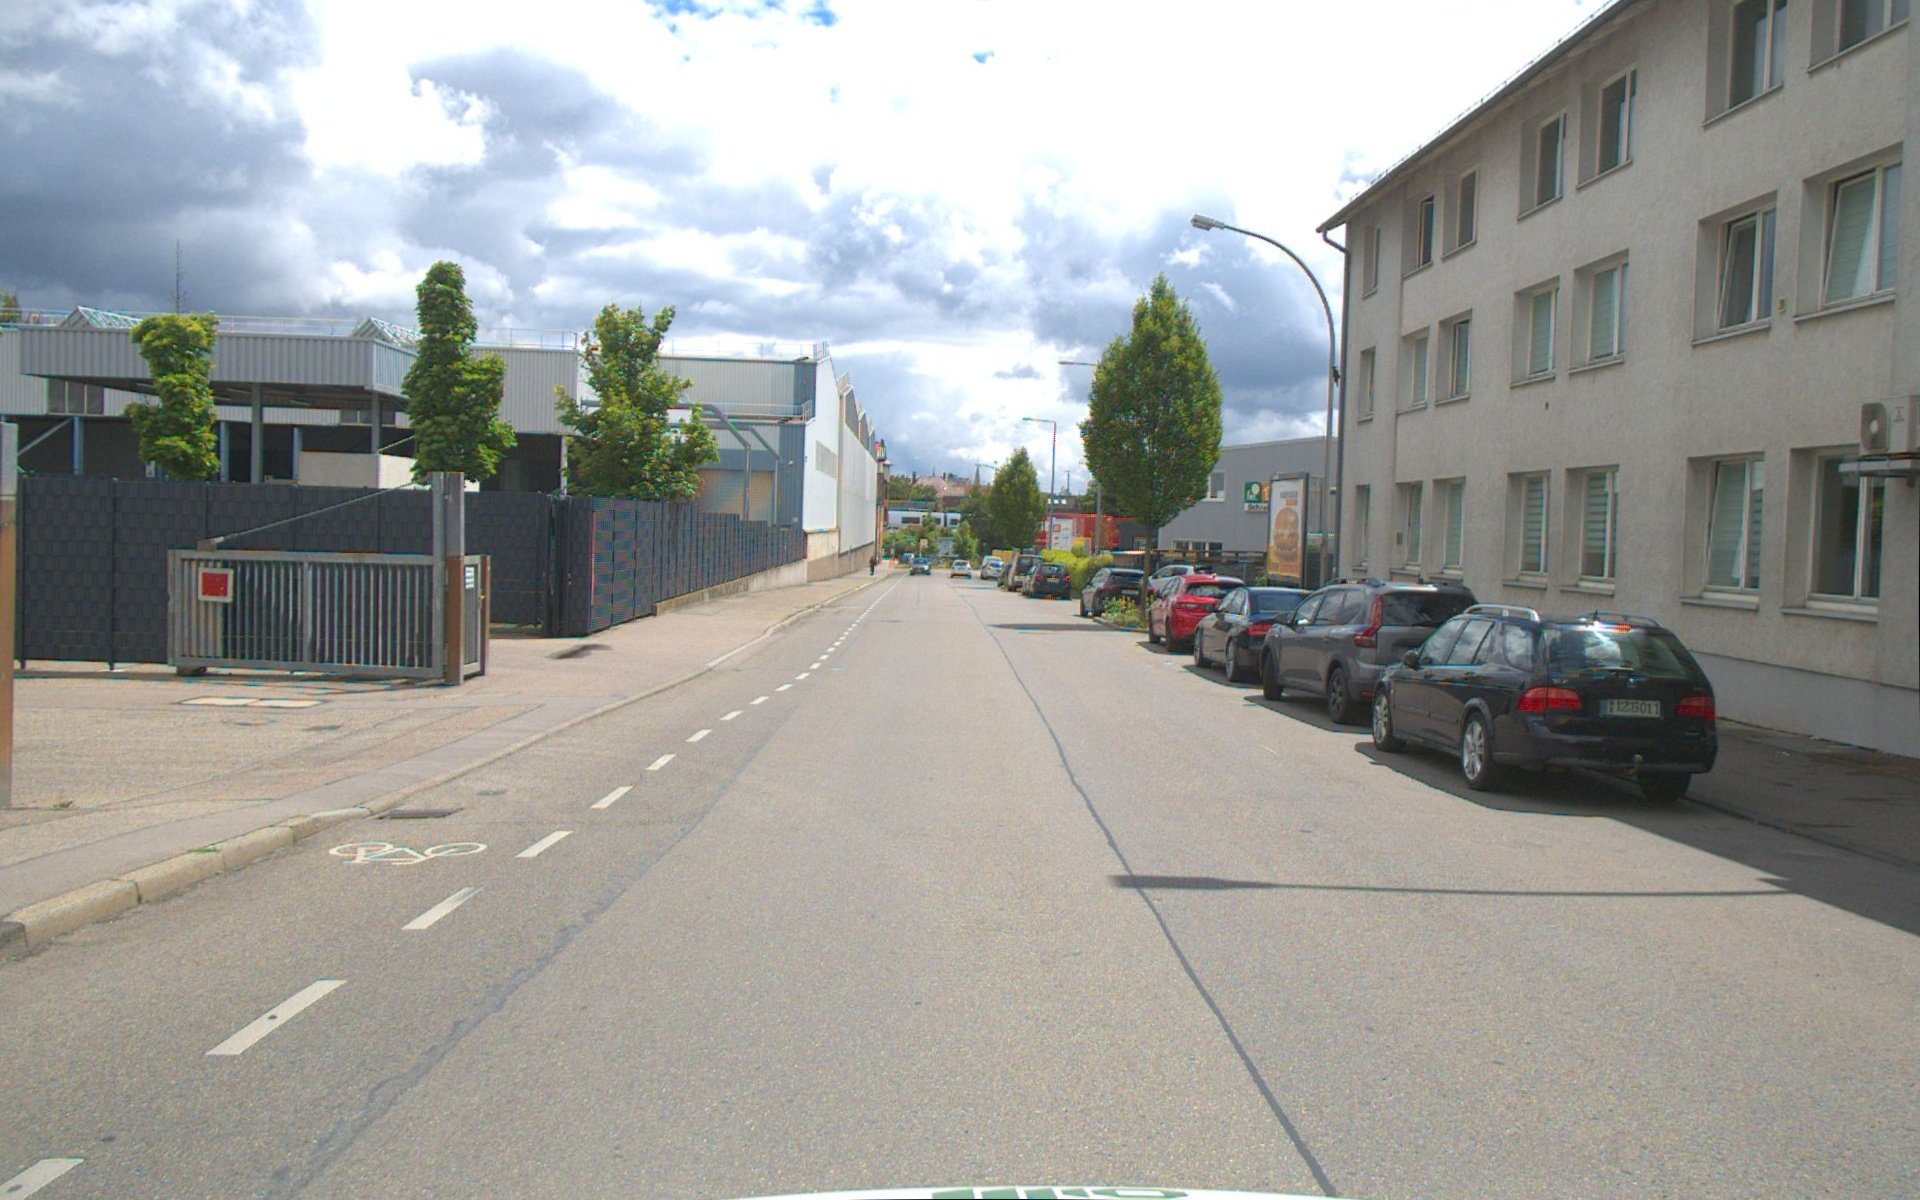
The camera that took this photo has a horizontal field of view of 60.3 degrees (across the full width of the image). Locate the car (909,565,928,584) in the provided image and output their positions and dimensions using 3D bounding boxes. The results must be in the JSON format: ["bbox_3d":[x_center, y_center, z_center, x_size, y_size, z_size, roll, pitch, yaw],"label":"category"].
[{"bbox_3d":[-3.826,-2.349,151.168,1.684,1.583,4.286,-2,0,-2],"label":"car"}]

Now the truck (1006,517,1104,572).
[{"bbox_3d":[8.524,-4.969,148.468,8.274,4.752,2.583,1,-1,20],"label":"truck"}]

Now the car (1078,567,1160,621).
[{"bbox_3d":[4.651,-0.194,48.883,1.755,1.491,4.706,1,1,-3],"label":"car"}]

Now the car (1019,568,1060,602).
[{"bbox_3d":[3.840,-0.729,80.594,1.622,1.567,4.733,1,1,-2],"label":"car"}]

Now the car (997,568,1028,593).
[{"bbox_3d":[3.298,-1.262,104.189,1.679,1.499,4.510,1,1,-2],"label":"car"}]

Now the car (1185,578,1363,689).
[{"bbox_3d":[4.847,0.448,26.234,1.700,1.448,4.859,2,2,-2],"label":"car"}]

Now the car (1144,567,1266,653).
[{"bbox_3d":[4.792,0.148,32.837,1.699,1.498,4.261,2,2,-1],"label":"car"}]

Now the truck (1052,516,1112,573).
[{"bbox_3d":[10.409,-4.697,141.780,2.532,4.527,7.827,2,-1,-16],"label":"truck"}]

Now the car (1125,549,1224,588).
[{"bbox_3d":[8.948,-1.311,69.291,1.709,1.488,4.017,-3,2,-39],"label":"car"}]

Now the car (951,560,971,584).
[{"bbox_3d":[0.054,-2.304,135.998,1.535,1.817,3.604,1,-1,-2],"label":"car"}]

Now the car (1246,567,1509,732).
[{"bbox_3d":[5.027,0.499,20.653,1.644,1.666,4.792,3,2,-5],"label":"car"}]

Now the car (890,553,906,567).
[{"bbox_3d":[-7.535,-4.891,201.359,1.815,1.512,3.998,1,-1,-2],"label":"car"}]

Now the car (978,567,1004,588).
[{"bbox_3d":[2.533,-1.845,134.605,1.668,1.554,3.735,4,1,-5],"label":"car"}]

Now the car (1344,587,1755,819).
[{"bbox_3d":[5.039,0.760,15.018,1.670,1.536,5.086,3,2,-2],"label":"car"}]

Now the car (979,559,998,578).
[{"bbox_3d":[2.491,-2.757,145.428,1.666,1.554,3.738,2,1,0],"label":"car"}]

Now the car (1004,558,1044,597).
[{"bbox_3d":[3.459,-1.221,90.381,1.831,2.025,5.142,1,1,-2],"label":"car"}]

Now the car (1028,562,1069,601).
[{"bbox_3d":[4.031,-0.844,75.462,1.645,1.666,4.123,1,1,0],"label":"car"}]
